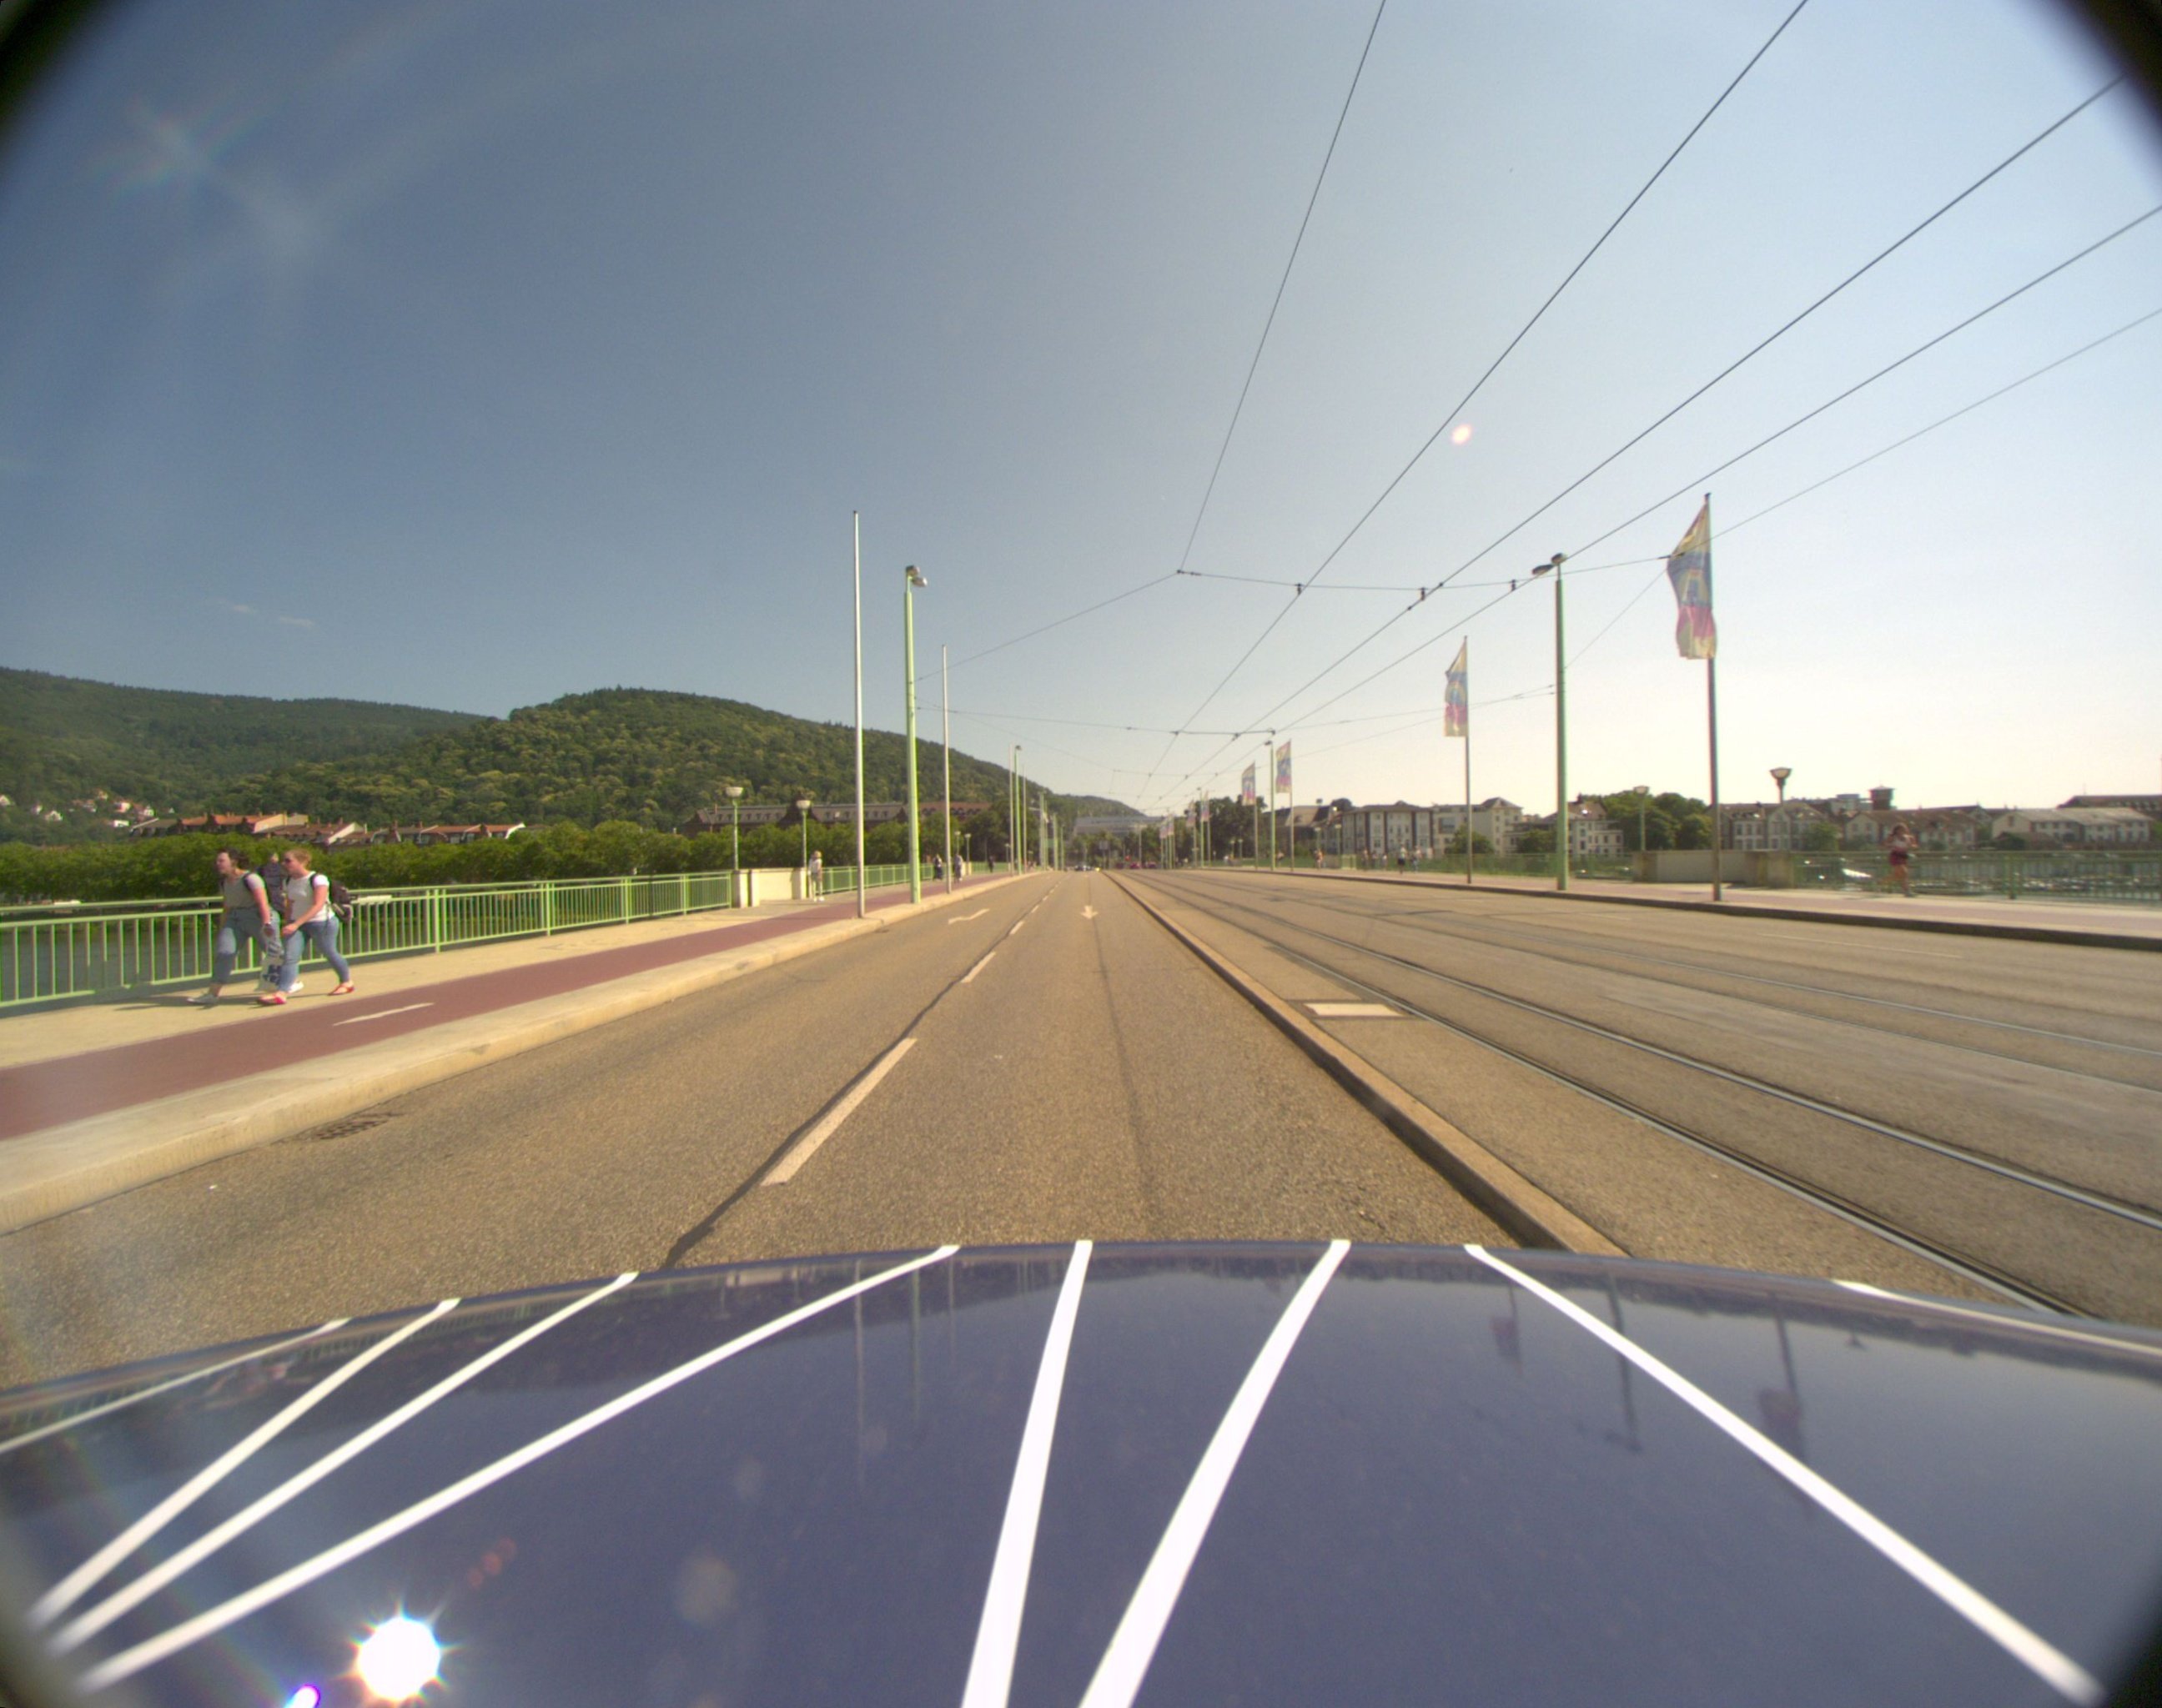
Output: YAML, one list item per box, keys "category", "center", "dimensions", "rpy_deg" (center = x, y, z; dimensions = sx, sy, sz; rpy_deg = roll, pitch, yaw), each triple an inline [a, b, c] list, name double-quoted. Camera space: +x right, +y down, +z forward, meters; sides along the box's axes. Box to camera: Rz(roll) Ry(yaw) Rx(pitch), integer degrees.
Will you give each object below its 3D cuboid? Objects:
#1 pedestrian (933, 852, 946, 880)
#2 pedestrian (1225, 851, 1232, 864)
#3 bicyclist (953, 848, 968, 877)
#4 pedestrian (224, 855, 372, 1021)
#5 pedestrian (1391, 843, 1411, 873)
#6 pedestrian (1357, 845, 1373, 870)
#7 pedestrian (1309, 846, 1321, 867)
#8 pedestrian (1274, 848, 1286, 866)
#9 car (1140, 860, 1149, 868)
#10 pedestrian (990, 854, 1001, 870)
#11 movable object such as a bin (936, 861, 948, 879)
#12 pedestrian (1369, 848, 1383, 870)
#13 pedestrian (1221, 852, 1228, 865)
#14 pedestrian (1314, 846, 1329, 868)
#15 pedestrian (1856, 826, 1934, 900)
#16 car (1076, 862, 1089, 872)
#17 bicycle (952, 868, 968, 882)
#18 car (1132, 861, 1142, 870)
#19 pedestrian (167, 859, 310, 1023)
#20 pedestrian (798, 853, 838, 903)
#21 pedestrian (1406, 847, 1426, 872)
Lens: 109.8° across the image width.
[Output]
- category: "pedestrian"
  center: [-8.747, 0.728, 46.933]
  dimensions: [0.664, 1.696, 0.859]
  rpy_deg: [0, 1, 0]
- category: "pedestrian"
  center: [19.990, 0.524, 102.770]
  dimensions: [0.592, 1.690, 0.905]
  rpy_deg: [-6, 1, 0]
- category: "bicyclist"
  center: [-6.995, 0.496, 44.205]
  dimensions: [0.731, 1.655, 0.844]
  rpy_deg: [0, 1, 1]
- category: "pedestrian"
  center: [-8.187, 0.834, 7.983]
  dimensions: [0.664, 1.649, 0.825]
  rpy_deg: [0, 1, 0]
- category: "pedestrian"
  center: [18.364, 0.216, 43.618]
  dimensions: [0.671, 1.690, 1.022]
  rpy_deg: [-3, 1, 0]
- category: "pedestrian"
  center: [18.938, 0.230, 50.655]
  dimensions: [0.627, 1.590, 1.022]
  rpy_deg: [-3, 1, 0]
- category: "pedestrian"
  center: [19.589, 0.190, 63.594]
  dimensions: [0.592, 1.690, 1.022]
  rpy_deg: [-3, 1, 0]
- category: "pedestrian"
  center: [18.752, 0.263, 71.768]
  dimensions: [0.787, 1.690, 1.022]
  rpy_deg: [-4, 1, 0]
- category: "car"
  center: [13.901, 2.169, 165.325]
  dimensions: [1.672, 1.428, 4.000]
  rpy_deg: [-1, 1, 1]
- category: "pedestrian"
  center: [-8.873, 0.781, 78.688]
  dimensions: [0.950, 1.653, 1.082]
  rpy_deg: [1, 1, 0]
- category: "movable object such as a bin"
  center: [-8.729, 1.014, 47.786]
  dimensions: [0.583, 1.084, 0.933]
  rpy_deg: [0, 0, 0]
- category: "pedestrian"
  center: [19.641, 0.311, 50.600]
  dimensions: [0.547, 1.429, 0.789]
  rpy_deg: [-3, 1, 0]
- category: "pedestrian"
  center: [19.425, 0.639, 102.558]
  dimensions: [0.592, 1.690, 1.022]
  rpy_deg: [-6, 1, 0]
- category: "pedestrian"
  center: [18.698, 0.231, 59.062]
  dimensions: [0.787, 1.690, 1.022]
  rpy_deg: [-4, 1, 0]
- category: "pedestrian"
  center: [19.439, 0.208, 18.167]
  dimensions: [0.686, 1.681, 1.022]
  rpy_deg: [-3, 1, 0]
- category: "car"
  center: [0.283, 2.270, 132.008]
  dimensions: [1.998, 1.379, 4.000]
  rpy_deg: [-6, 0, 1]
- category: "bicycle"
  center: [-6.986, 1.203, 44.084]
  dimensions: [0.595, 0.761, 1.866]
  rpy_deg: [0, 0, 1]
- category: "car"
  center: [11.510, 2.301, 157.603]
  dimensions: [1.714, 1.686, 4.000]
  rpy_deg: [-5, 0, 1]
- category: "pedestrian"
  center: [-8.879, 0.878, 8.041]
  dimensions: [0.669, 1.649, 0.746]
  rpy_deg: [0, 1, 0]
- category: "pedestrian"
  center: [-8.859, 0.786, 25.636]
  dimensions: [0.950, 1.653, 1.082]
  rpy_deg: [0, 1, 0]
- category: "pedestrian"
  center: [19.256, 0.317, 43.695]
  dimensions: [0.592, 1.406, 1.022]
  rpy_deg: [-3, 1, 0]
